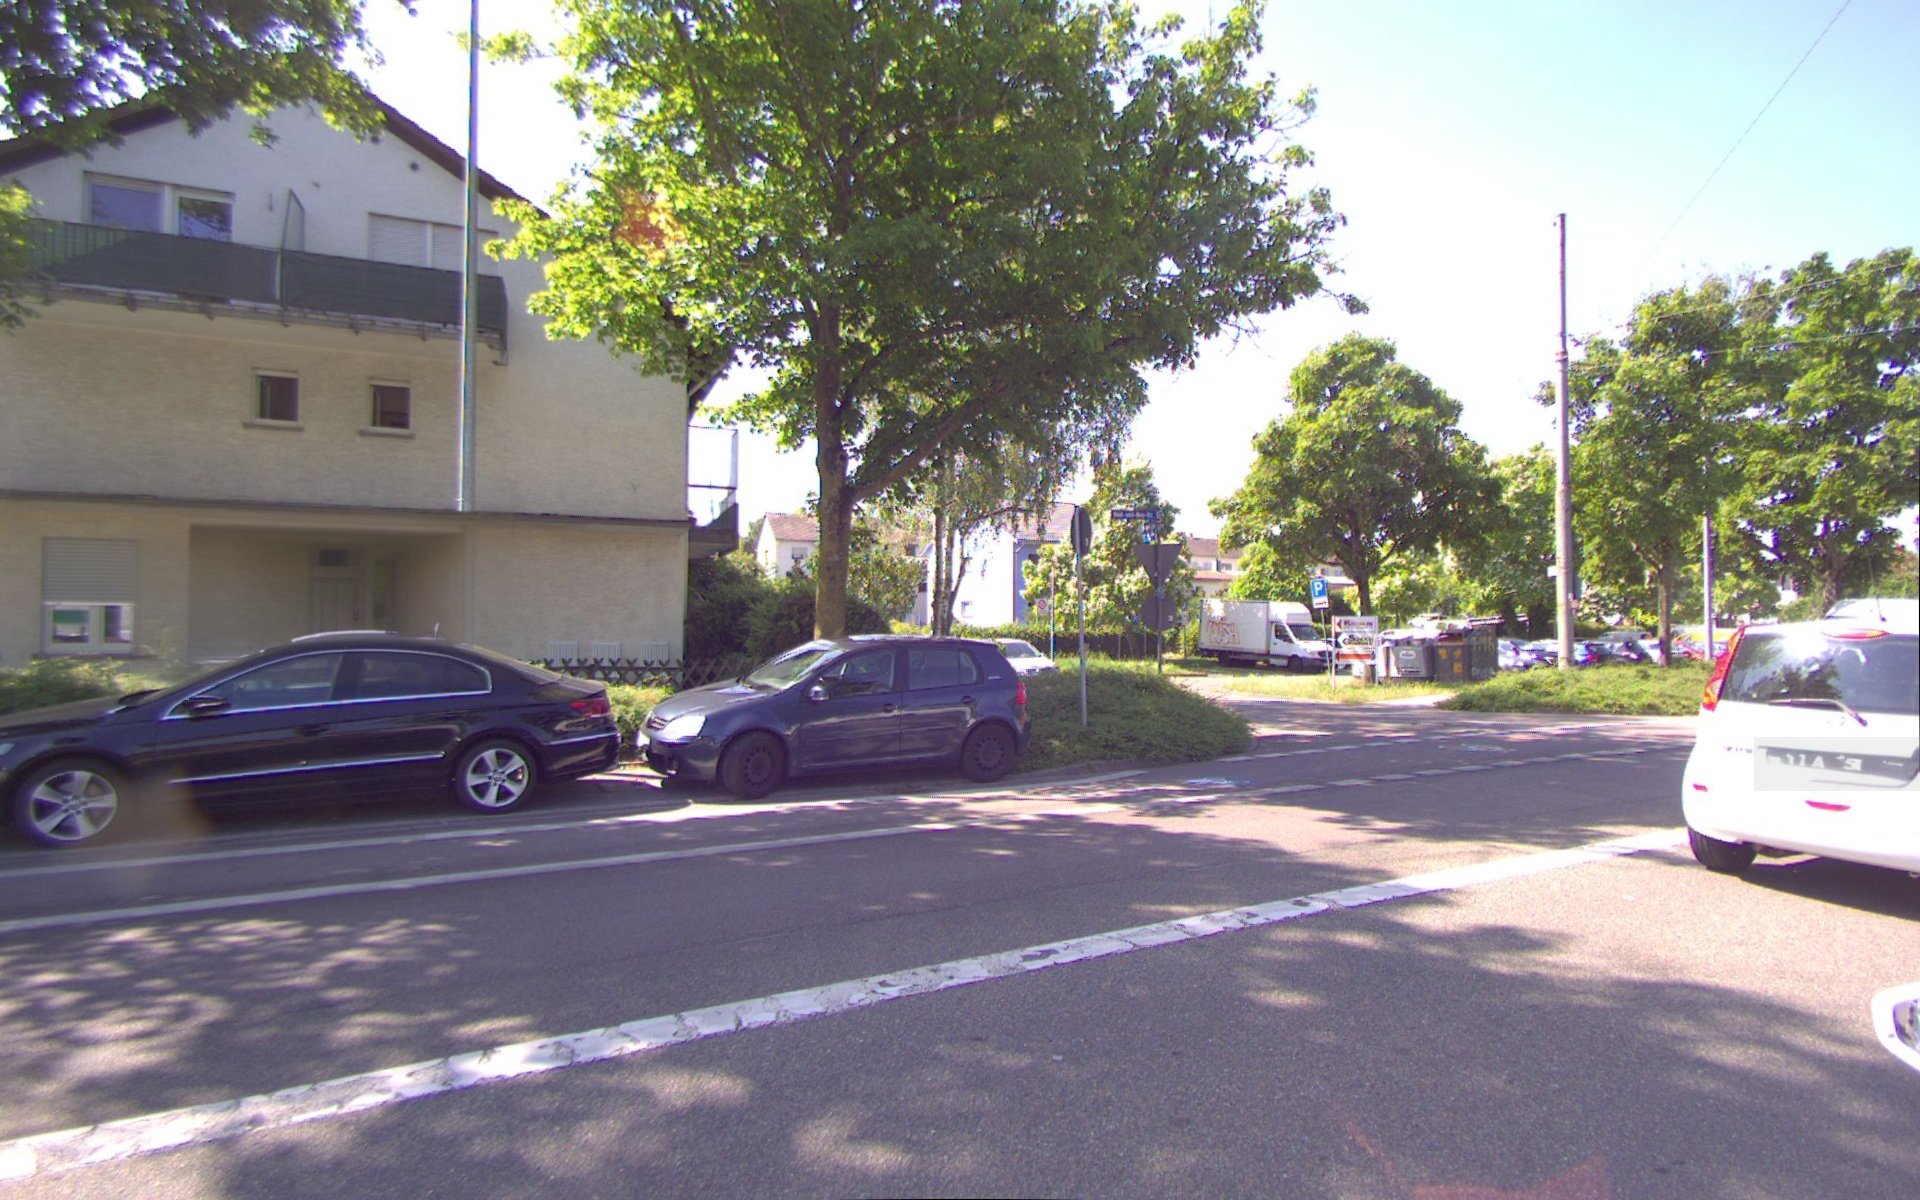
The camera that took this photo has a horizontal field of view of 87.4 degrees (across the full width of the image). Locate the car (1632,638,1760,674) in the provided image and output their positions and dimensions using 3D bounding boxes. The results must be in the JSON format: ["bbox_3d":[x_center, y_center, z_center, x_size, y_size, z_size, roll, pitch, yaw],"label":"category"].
[{"bbox_3d":[30.742,2.334,42.078,1.712,1.434,3.964,2,-4,-33],"label":"car"}]

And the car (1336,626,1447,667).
[{"bbox_3d":[21.709,2.325,50.715,2.043,1.811,4.762,2,0,-34],"label":"car"}]

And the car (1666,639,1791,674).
[{"bbox_3d":[33.164,2.446,43.448,1.712,1.434,3.964,2,-4,-33],"label":"car"}]

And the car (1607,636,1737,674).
[{"bbox_3d":[28.831,2.244,40.778,1.712,1.434,3.964,2,-4,-33],"label":"car"}]

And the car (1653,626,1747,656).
[{"bbox_3d":[50.547,2.774,68.711,2.043,1.811,4.762,2,0,-34],"label":"car"}]

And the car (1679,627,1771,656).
[{"bbox_3d":[54.426,2.905,71.538,2.043,1.811,4.762,2,0,-34],"label":"car"}]

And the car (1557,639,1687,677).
[{"bbox_3d":[26.335,2.328,40.078,1.712,1.434,3.964,2,-4,-33],"label":"car"}]

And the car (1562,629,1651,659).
[{"bbox_3d":[44.520,2.989,69.290,2.043,1.811,4.762,2,0,-34],"label":"car"}]

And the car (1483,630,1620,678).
[{"bbox_3d":[21.415,1.971,36.502,1.712,1.631,3.964,2,-4,-33],"label":"car"}]

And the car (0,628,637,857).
[{"bbox_3d":[-5.239,1.003,8.369,4.568,1.434,1.854,1,0,-31],"label":"car"}]

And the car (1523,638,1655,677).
[{"bbox_3d":[24.134,2.211,38.683,1.712,1.434,3.964,2,-4,-33],"label":"car"}]

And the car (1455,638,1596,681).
[{"bbox_3d":[19.696,2.075,35.118,1.712,1.434,3.964,2,-4,-33],"label":"car"}]

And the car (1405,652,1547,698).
[{"bbox_3d":[17.324,2.489,33.894,1.712,1.434,3.964,2,-4,-33],"label":"car"}]

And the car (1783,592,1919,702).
[{"bbox_3d":[23.794,1.142,25.770,5.745,2.550,2.114,1,0,-29],"label":"car"}]

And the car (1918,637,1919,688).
[{"bbox_3d":[29.442,1.821,28.753,4.230,1.434,1.854,1,0,-31],"label":"car"}]

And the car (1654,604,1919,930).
[{"bbox_3d":[6.412,0.848,6.260,4.491,1.568,1.655,1,-1,-29],"label":"car"}]

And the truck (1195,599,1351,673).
[{"bbox_3d":[14.433,1.573,46.869,2.646,3.151,6.967,1,0,-30],"label":"truck"}]

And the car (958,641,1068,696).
[{"bbox_3d":[1.412,1.924,28.436,1.704,1.434,3.983,1,-3,-20],"label":"car"}]

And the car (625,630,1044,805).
[{"bbox_3d":[-1.272,1.093,10.479,3.988,1.462,1.718,1,0,-28],"label":"car"}]
